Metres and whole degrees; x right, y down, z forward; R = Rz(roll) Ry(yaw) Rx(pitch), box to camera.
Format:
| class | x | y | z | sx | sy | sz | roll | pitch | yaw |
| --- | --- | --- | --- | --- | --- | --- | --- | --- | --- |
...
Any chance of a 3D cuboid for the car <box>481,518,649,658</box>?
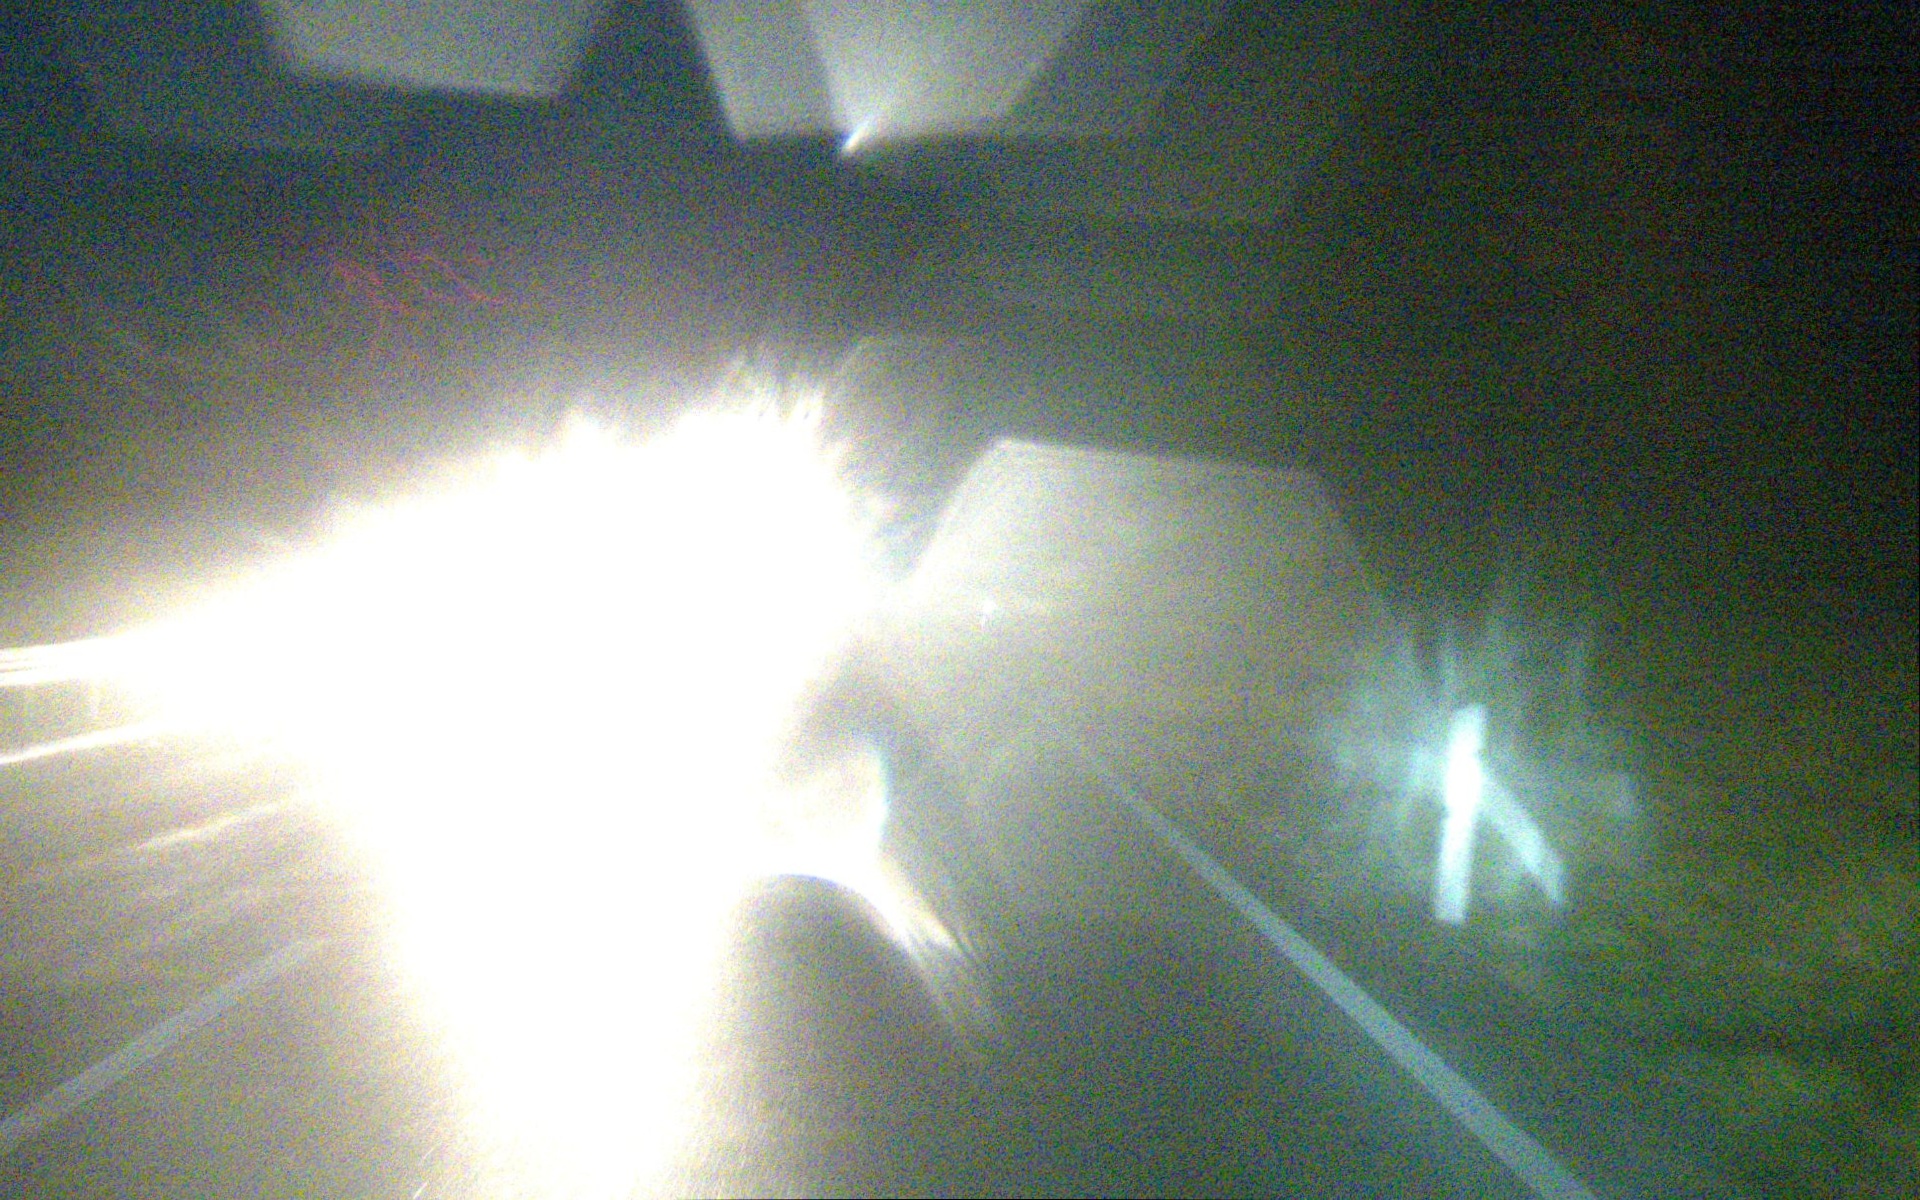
| class | x | y | z | sx | sy | sz | roll | pitch | yaw |
| --- | --- | --- | --- | --- | --- | --- | --- | --- | --- |
| car | -4.939 | -0.180 | 43.468 | 1.654 | 1.677 | 4.521 | 0 | 1 | -1 |

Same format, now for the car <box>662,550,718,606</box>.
| class | x | y | z | sx | sy | sz | roll | pitch | yaw |
| --- | --- | --- | --- | --- | --- | --- | --- | --- | --- |
| car | -8.210 | -0.683 | 104.706 | 1.483 | 1.610 | 3.561 | 2 | 1 | -2 |
